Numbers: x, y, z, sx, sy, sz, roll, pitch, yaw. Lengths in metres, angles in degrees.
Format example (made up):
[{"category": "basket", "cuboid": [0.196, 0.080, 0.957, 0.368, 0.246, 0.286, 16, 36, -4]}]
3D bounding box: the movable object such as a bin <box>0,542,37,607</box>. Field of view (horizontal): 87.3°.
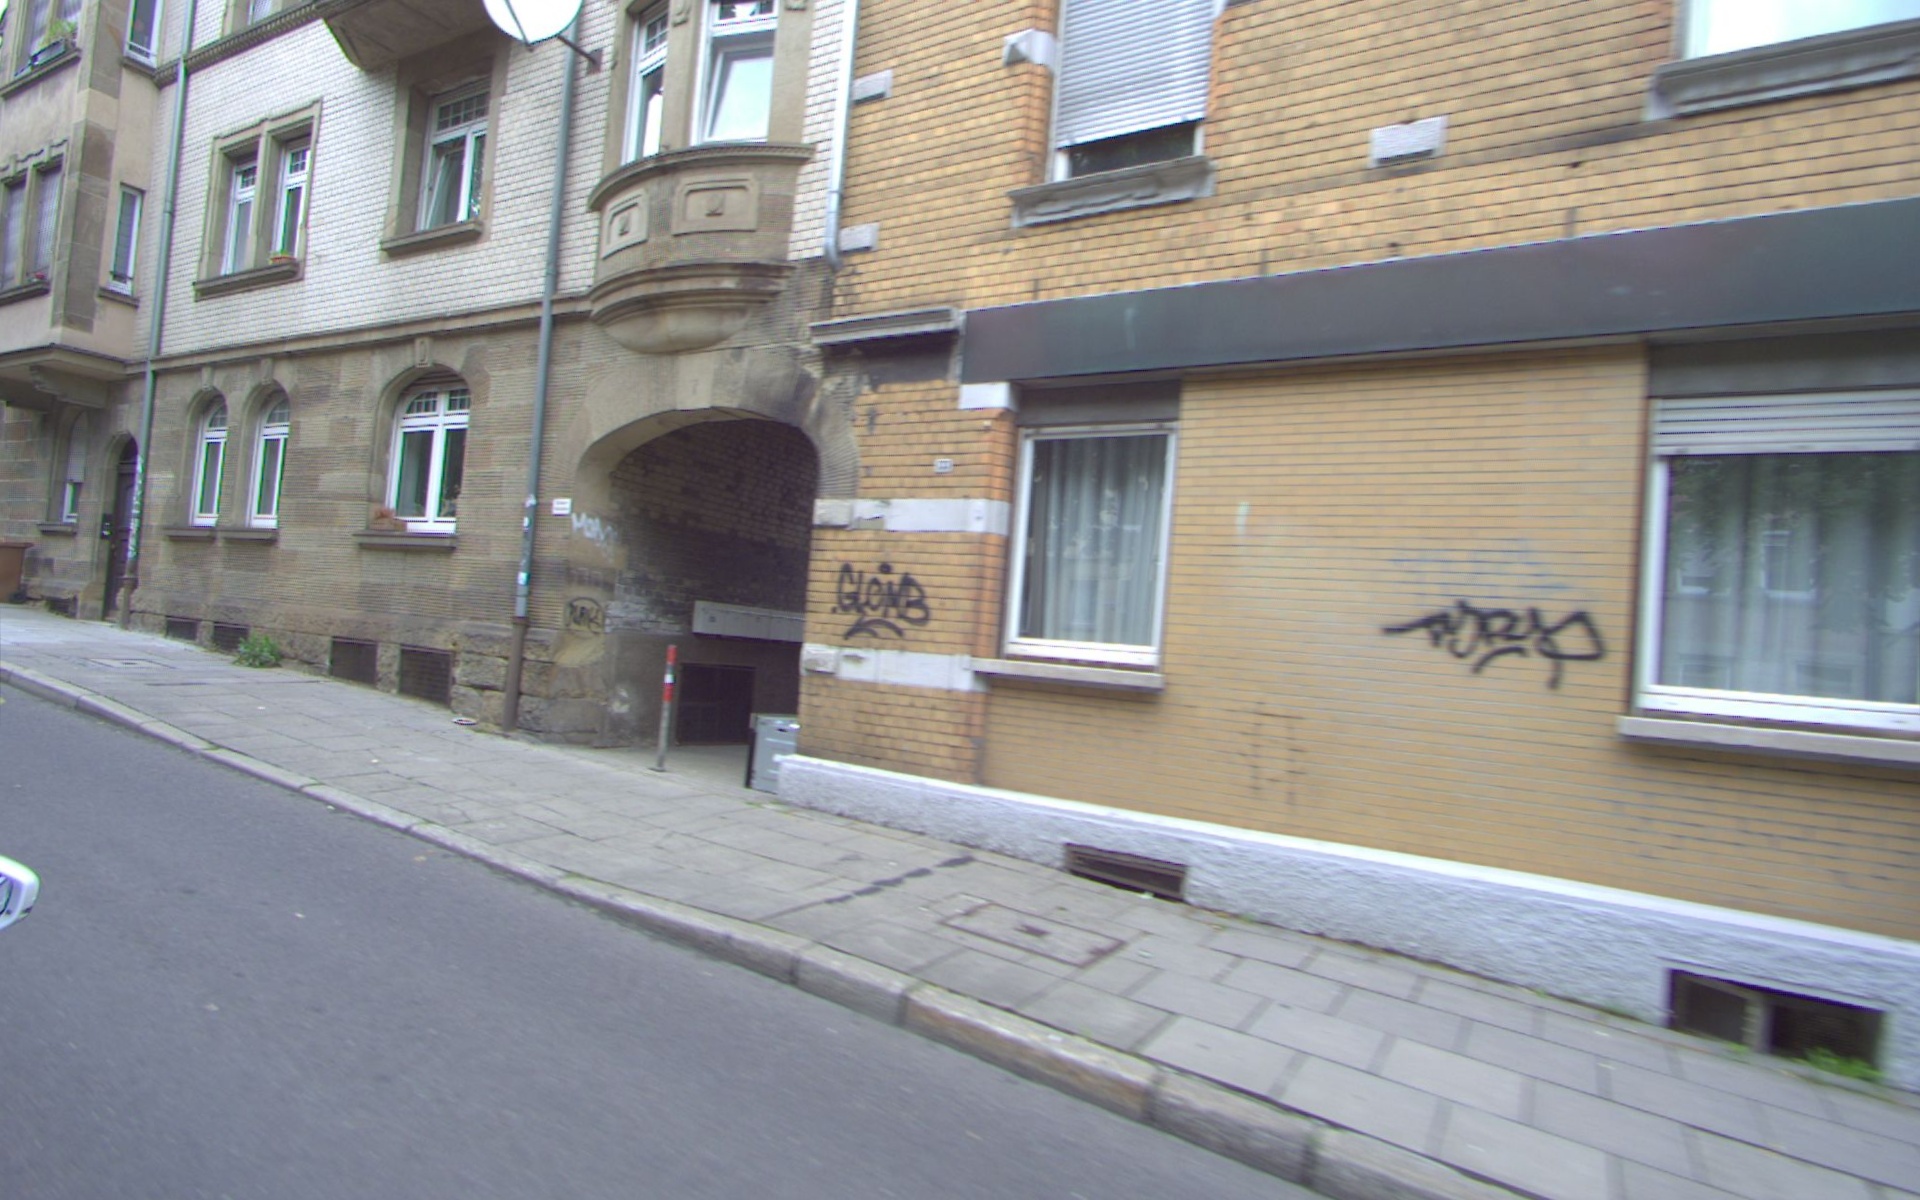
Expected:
[{"category": "movable object such as a bin", "cuboid": [-14.234, -0.399, 14.914, 0.553, 0.914, 0.595, 6, -2, 31]}]
